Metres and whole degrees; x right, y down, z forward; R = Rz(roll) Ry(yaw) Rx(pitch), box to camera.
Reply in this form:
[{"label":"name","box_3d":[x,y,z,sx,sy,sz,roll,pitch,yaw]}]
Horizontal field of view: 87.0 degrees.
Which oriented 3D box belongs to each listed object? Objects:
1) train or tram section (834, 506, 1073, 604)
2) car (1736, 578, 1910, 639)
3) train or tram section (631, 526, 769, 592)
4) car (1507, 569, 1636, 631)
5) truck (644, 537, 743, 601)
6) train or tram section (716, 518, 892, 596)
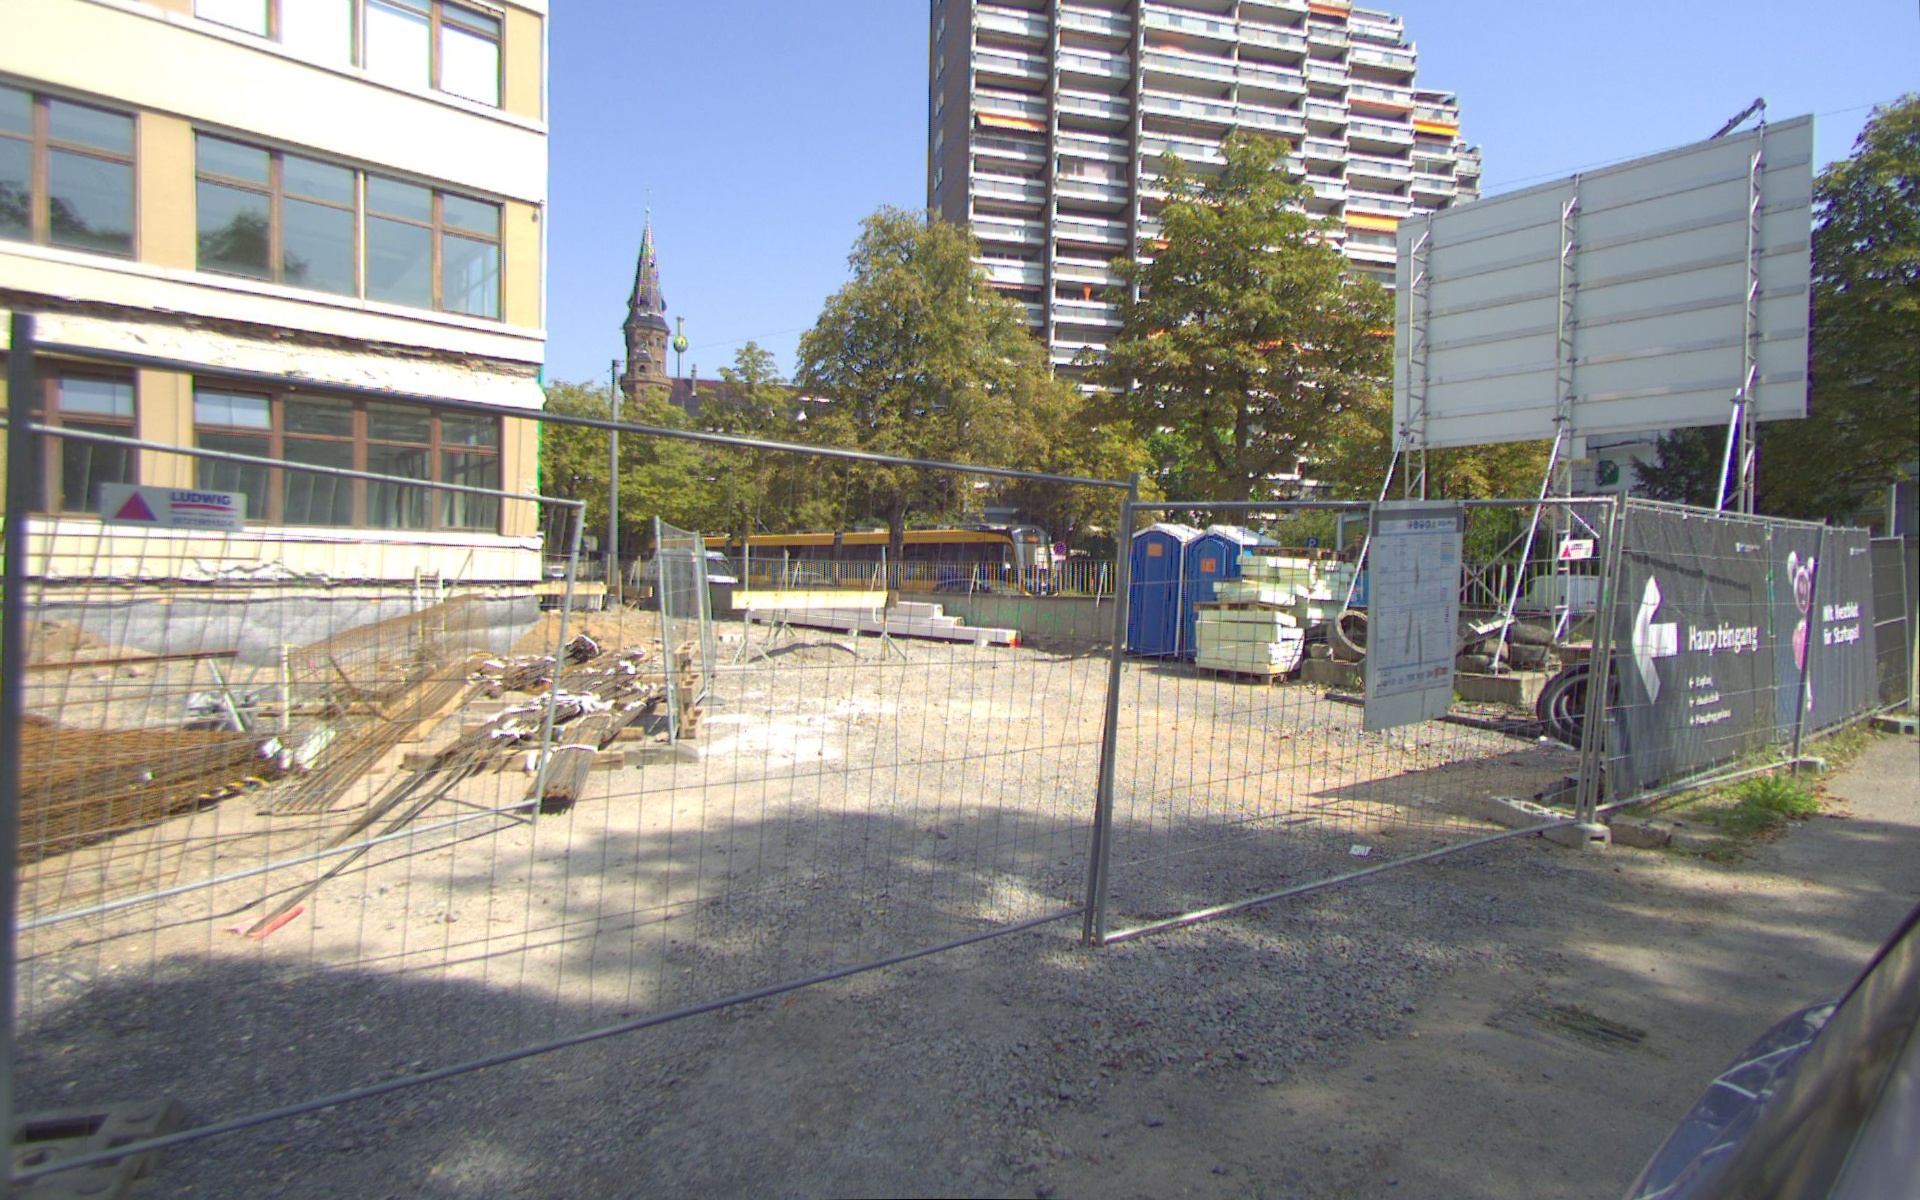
[{"label":"train or tram section","box_3d":[-0.725,-1.912,44.503,3.446,3.750,12.398,-1,2,-40]},{"label":"car","box_3d":[23.669,0.176,27.960,1.691,1.526,3.855,2,1,5]},{"label":"train or tram section","box_3d":[-16.588,-2.545,63.646,3.446,3.750,12.398,-1,2,-40]},{"label":"car","box_3d":[19.395,-0.068,32.336,1.794,1.794,4.279,2,1,6]},{"label":"truck","box_3d":[-11.737,-1.366,44.261,1.890,2.631,5.583,-1,2,-42]},{"label":"train or tram section","box_3d":[-8.673,-2.231,54.083,3.446,3.750,12.398,-1,2,-40]}]
